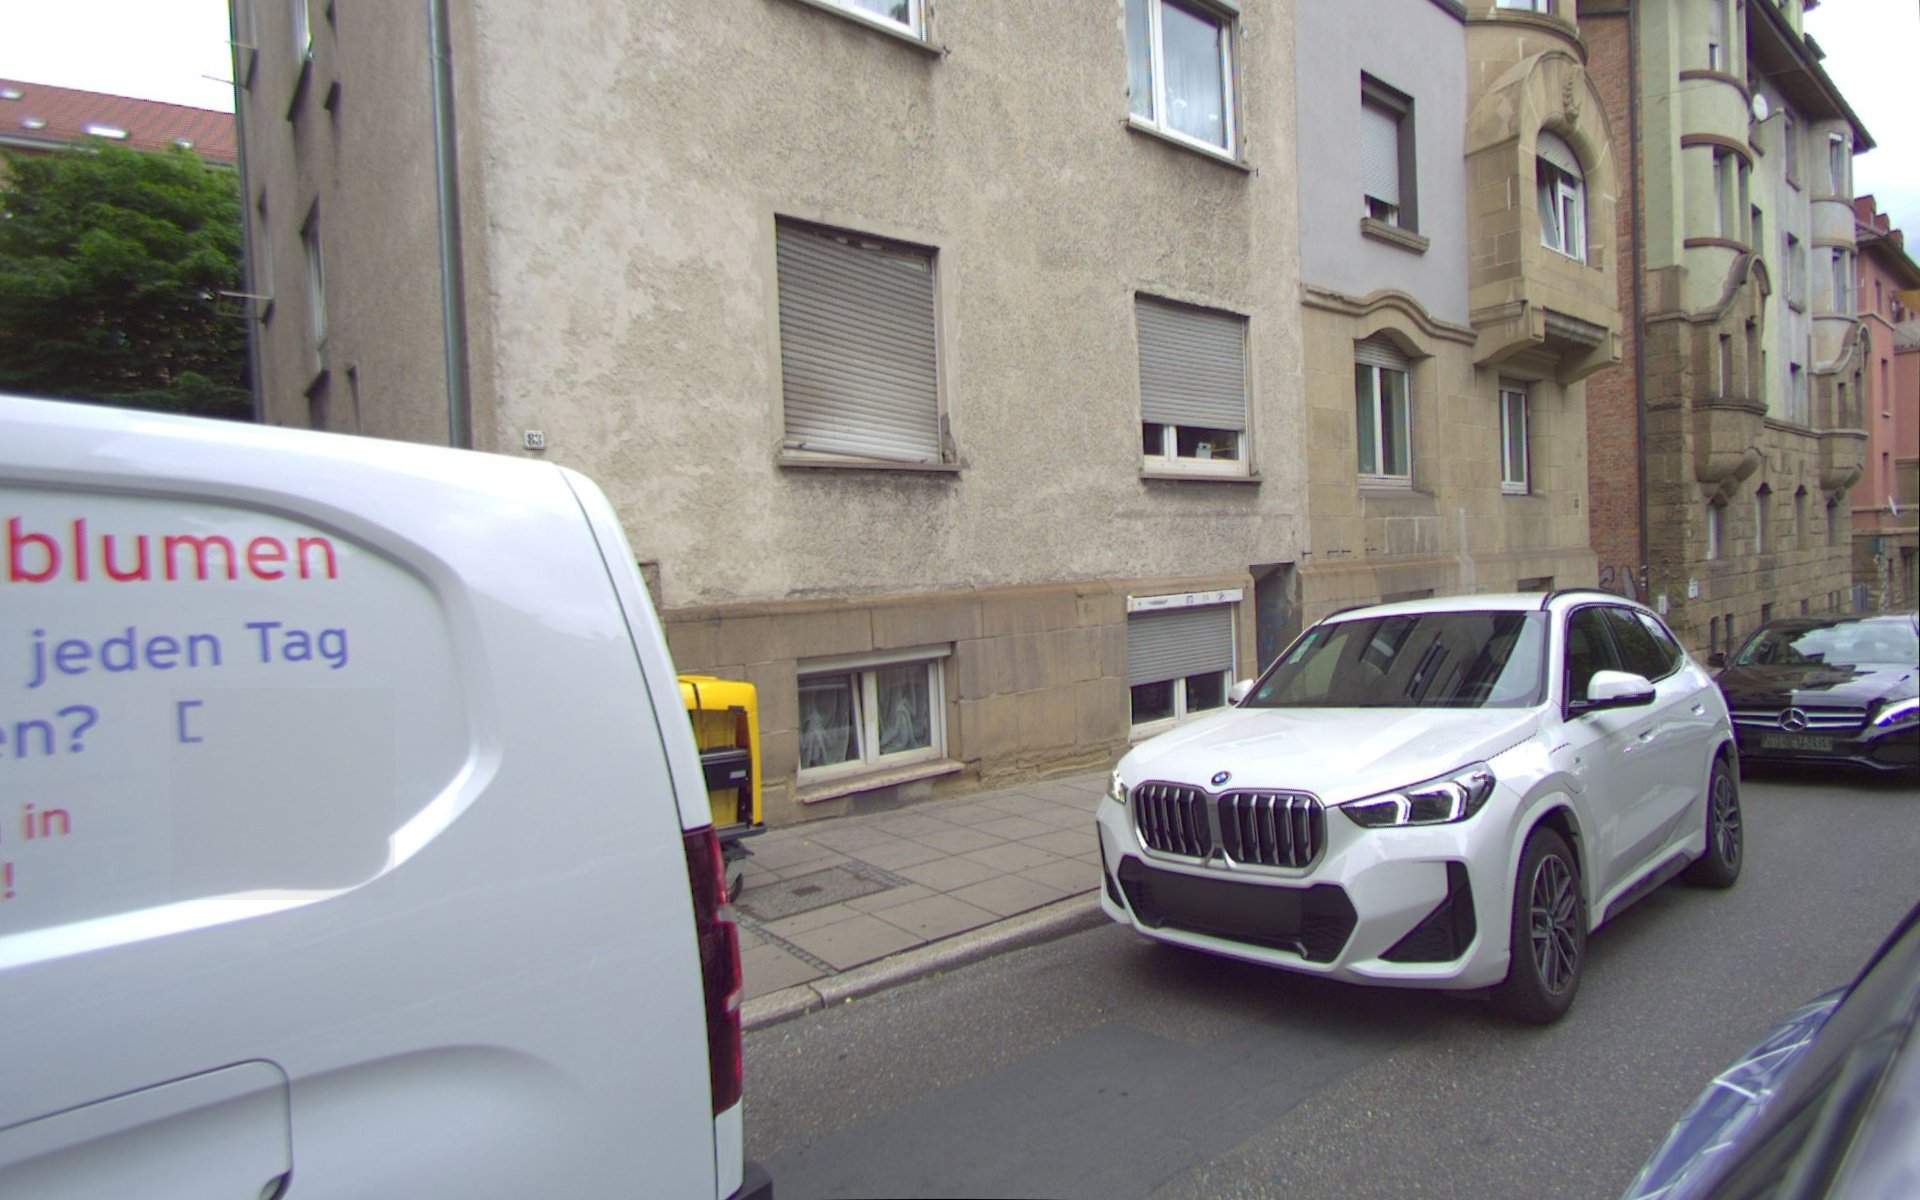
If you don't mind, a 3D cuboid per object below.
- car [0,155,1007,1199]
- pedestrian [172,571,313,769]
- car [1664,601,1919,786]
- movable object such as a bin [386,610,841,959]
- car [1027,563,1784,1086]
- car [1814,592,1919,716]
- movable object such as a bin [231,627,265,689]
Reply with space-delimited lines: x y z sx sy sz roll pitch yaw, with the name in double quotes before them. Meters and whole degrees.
"car" -2.291 0.551 0.912 4.597 1.798 1.977 -1 -3 -42
"pedestrian" -6.615 0.605 9.338 0.808 1.666 0.773 0 6 42
"car" 8.477 0.743 9.633 4.132 1.395 1.882 -1 -3 -41
"movable object such as a bin" -1.794 0.790 5.384 1.979 1.391 1.223 -1 2 -43
"car" 2.543 0.716 5.203 4.276 1.576 1.857 -1 -4 -41
"car" 13.565 0.646 13.946 4.226 1.534 1.935 -1 -3 -40
"movable object such as a bin" -10.971 0.881 15.596 0.405 0.923 0.340 0 0 -40
